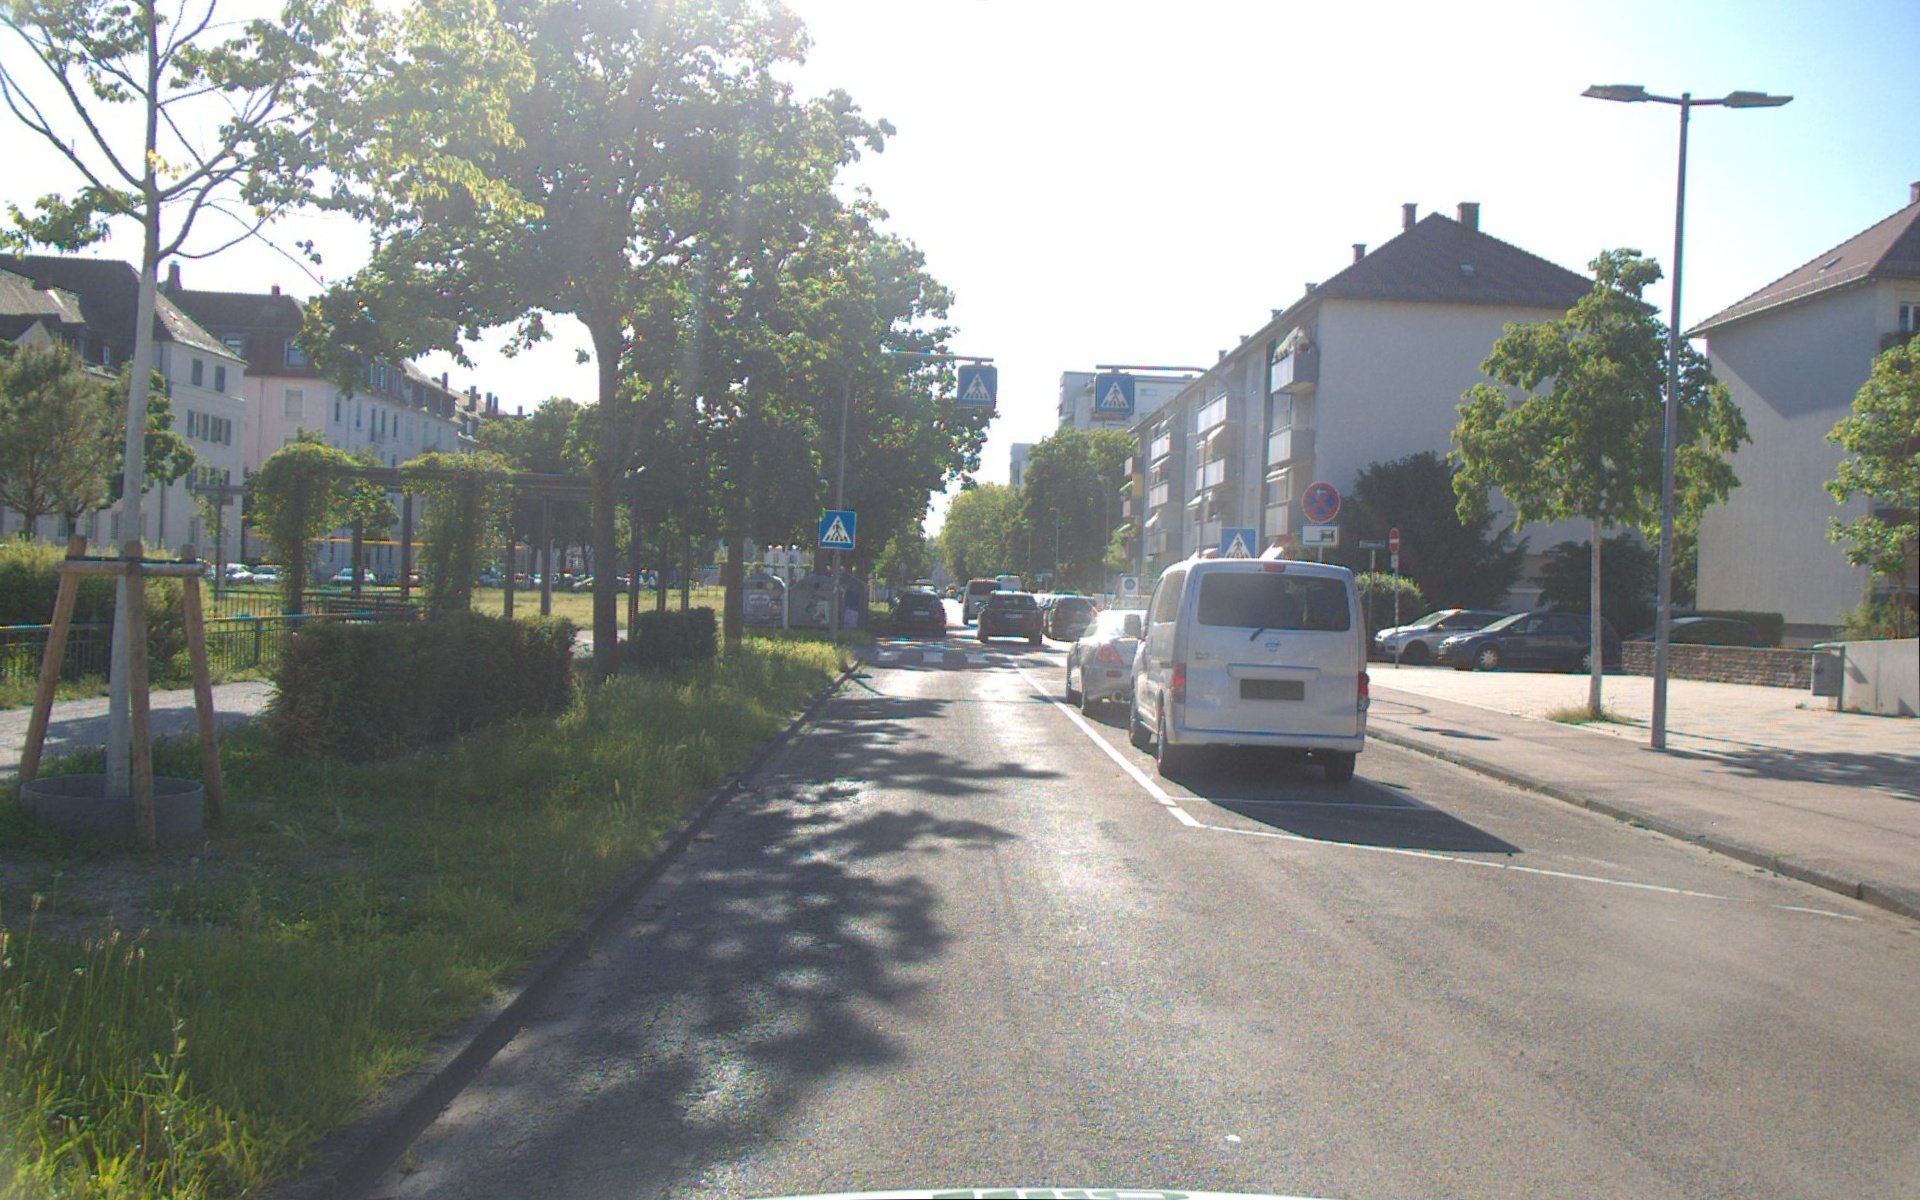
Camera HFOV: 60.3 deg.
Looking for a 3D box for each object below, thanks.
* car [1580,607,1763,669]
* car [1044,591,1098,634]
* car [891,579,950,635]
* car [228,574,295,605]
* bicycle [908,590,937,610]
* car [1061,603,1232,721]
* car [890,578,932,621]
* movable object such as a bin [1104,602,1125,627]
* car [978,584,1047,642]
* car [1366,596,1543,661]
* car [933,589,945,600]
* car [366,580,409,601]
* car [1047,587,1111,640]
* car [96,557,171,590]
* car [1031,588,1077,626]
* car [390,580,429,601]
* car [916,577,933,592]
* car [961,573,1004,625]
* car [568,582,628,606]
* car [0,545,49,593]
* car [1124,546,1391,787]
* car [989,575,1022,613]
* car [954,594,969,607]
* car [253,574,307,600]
[{"bbox_3d":[20.046,1.080,46.705,4.391,1.567,1.798,2,-1,-4],"label":"car"},{"bbox_3d":[4.280,0.459,64.266,1.758,1.536,3.999,2,0,-1],"label":"car"},{"bbox_3d":[-1.236,0.208,53.098,1.758,1.652,3.999,2,0,-1],"label":"car"},{"bbox_3d":[-36.426,-0.558,86.360,1.758,1.536,3.999,2,0,-1],"label":"car"},{"bbox_3d":[-3.004,0.006,132.802,2.277,1.566,0.630,1,0,-5],"label":"bicycle"},{"bbox_3d":[2.392,0.766,22.132,1.729,1.342,4.167,3,0,-1],"label":"car"},{"bbox_3d":[-2.396,-0.021,82.178,1.953,2.049,3.999,1,0,-1],"label":"car"},{"bbox_3d":[9.626,0.900,103.018,1.069,1.536,2.002,2,0,-1],"label":"movable object such as a bin"},{"bbox_3d":[1.453,0.351,47.441,1.758,1.536,3.999,2,0,-1],"label":"car"},{"bbox_3d":[13.879,0.805,46.528,4.391,1.651,1.798,2,-1,-4],"label":"car"},{"bbox_3d":[-3.178,-0.833,251.713,1.758,1.536,3.999,1,0,-1],"label":"car"},{"bbox_3d":[-42.914,-0.720,124.045,1.758,1.536,4.143,2,0,-1],"label":"car"},{"bbox_3d":[3.932,0.436,55.323,1.758,1.628,3.999,2,0,-1],"label":"car"},{"bbox_3d":[-41.455,-1.302,83.053,1.758,1.536,3.999,2,0,-1],"label":"car"},{"bbox_3d":[4.138,0.286,73.270,1.758,1.536,3.999,2,0,-1],"label":"car"},{"bbox_3d":[-42.953,-0.759,129.135,1.758,1.536,3.999,2,0,-1],"label":"car"},{"bbox_3d":[-3.766,-1.646,178.110,1.758,1.536,3.999,1,0,-1],"label":"car"},{"bbox_3d":[0.972,-0.053,73.740,1.758,2.159,3.999,2,0,-1],"label":"car"},{"bbox_3d":[-25.985,-0.449,118.849,3.909,1.536,1.798,2,0,-5],"label":"car"},{"bbox_3d":[-35.474,-1.167,60.441,1.758,1.740,4.702,2,0,-1],"label":"car"},{"bbox_3d":[2.638,0.522,15.668,1.757,1.887,4.414,2,0,1],"label":"car"},{"bbox_3d":[3.138,-0.428,113.838,1.953,2.472,4.499,4,0,-1],"label":"car"},{"bbox_3d":[0.180,0.068,200.846,1.758,1.536,3.999,1,0,-1],"label":"car"},{"bbox_3d":[-42.629,-0.818,103.741,1.758,1.536,3.999,2,0,-1],"label":"car"}]
